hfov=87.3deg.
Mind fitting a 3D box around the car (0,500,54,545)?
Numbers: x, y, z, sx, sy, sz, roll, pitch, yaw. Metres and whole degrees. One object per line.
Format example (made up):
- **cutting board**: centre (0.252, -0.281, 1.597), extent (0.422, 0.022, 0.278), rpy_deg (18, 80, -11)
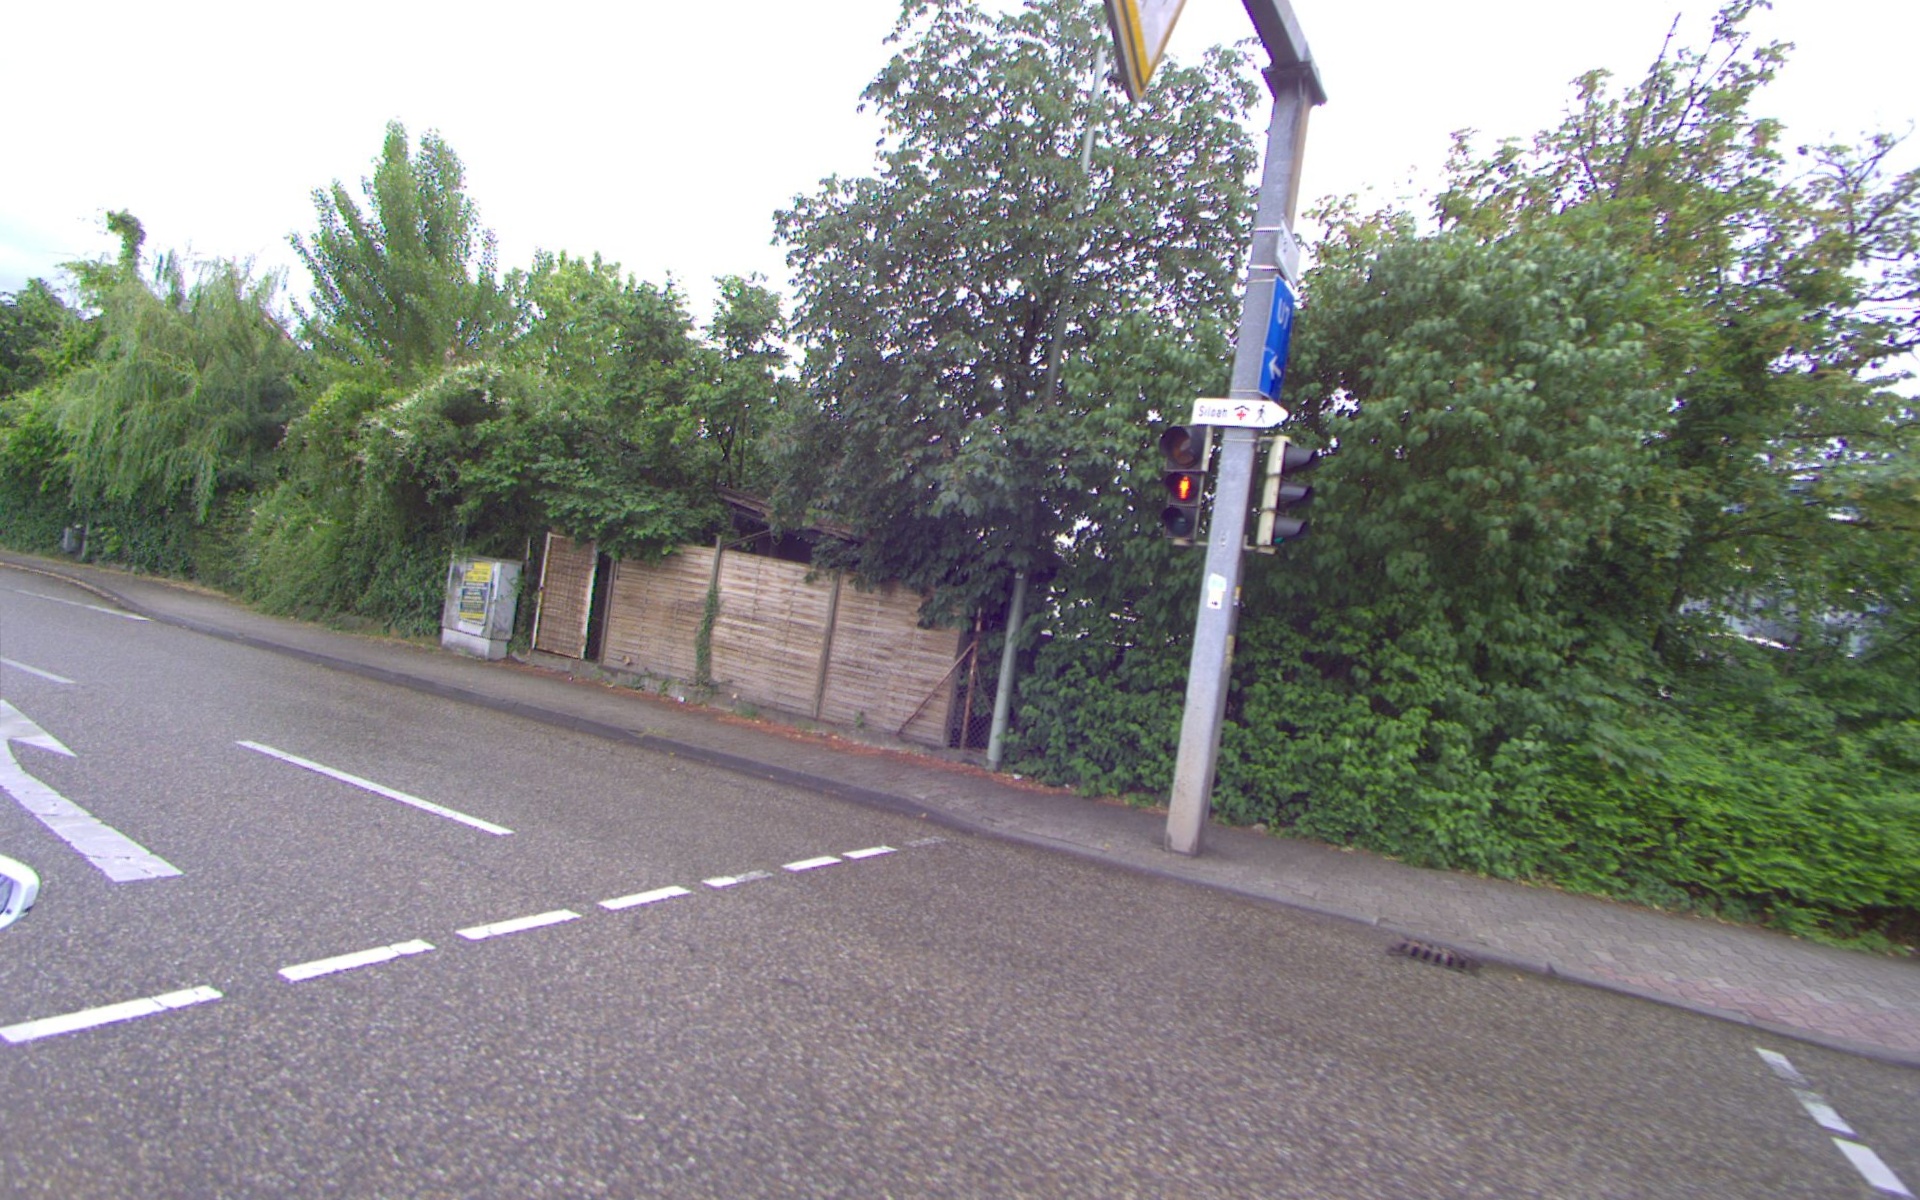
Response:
- **car**: centre (-34.923, -2.919, 35.688), extent (1.698, 1.412, 3.724), rpy_deg (5, -1, 24)
